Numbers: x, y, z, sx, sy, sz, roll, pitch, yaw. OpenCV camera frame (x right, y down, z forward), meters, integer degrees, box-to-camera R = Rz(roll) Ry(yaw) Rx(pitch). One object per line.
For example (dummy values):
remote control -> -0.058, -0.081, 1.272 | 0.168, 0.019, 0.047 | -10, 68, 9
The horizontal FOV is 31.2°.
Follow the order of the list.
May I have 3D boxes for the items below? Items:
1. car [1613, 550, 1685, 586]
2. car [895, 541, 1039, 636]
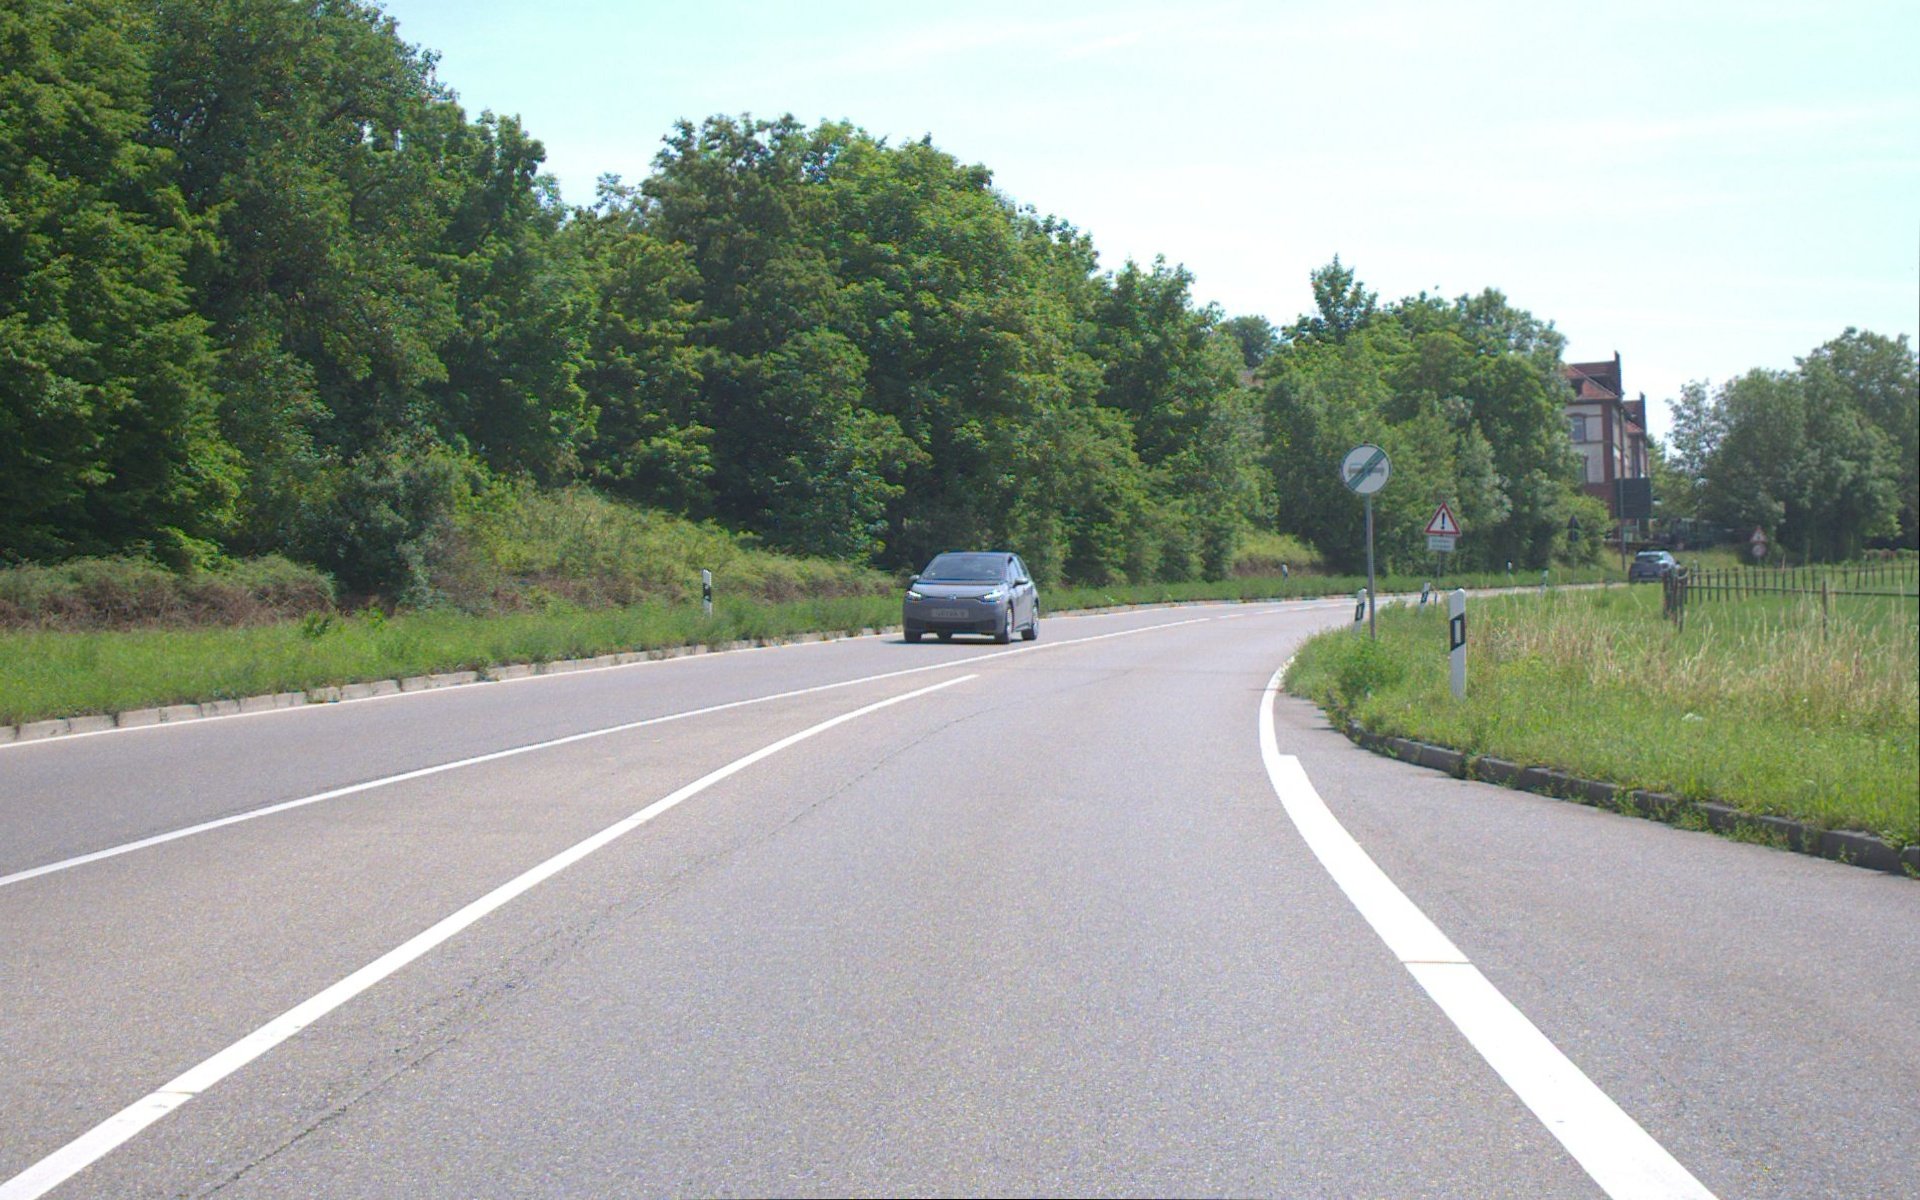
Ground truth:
car -> 30.248, -1.402, 150.871 | 1.997, 1.568, 3.994 | 1, 1, 29
car -> 0.156, -0.208, 58.750 | 1.755, 1.529, 4.226 | 1, 1, 10
